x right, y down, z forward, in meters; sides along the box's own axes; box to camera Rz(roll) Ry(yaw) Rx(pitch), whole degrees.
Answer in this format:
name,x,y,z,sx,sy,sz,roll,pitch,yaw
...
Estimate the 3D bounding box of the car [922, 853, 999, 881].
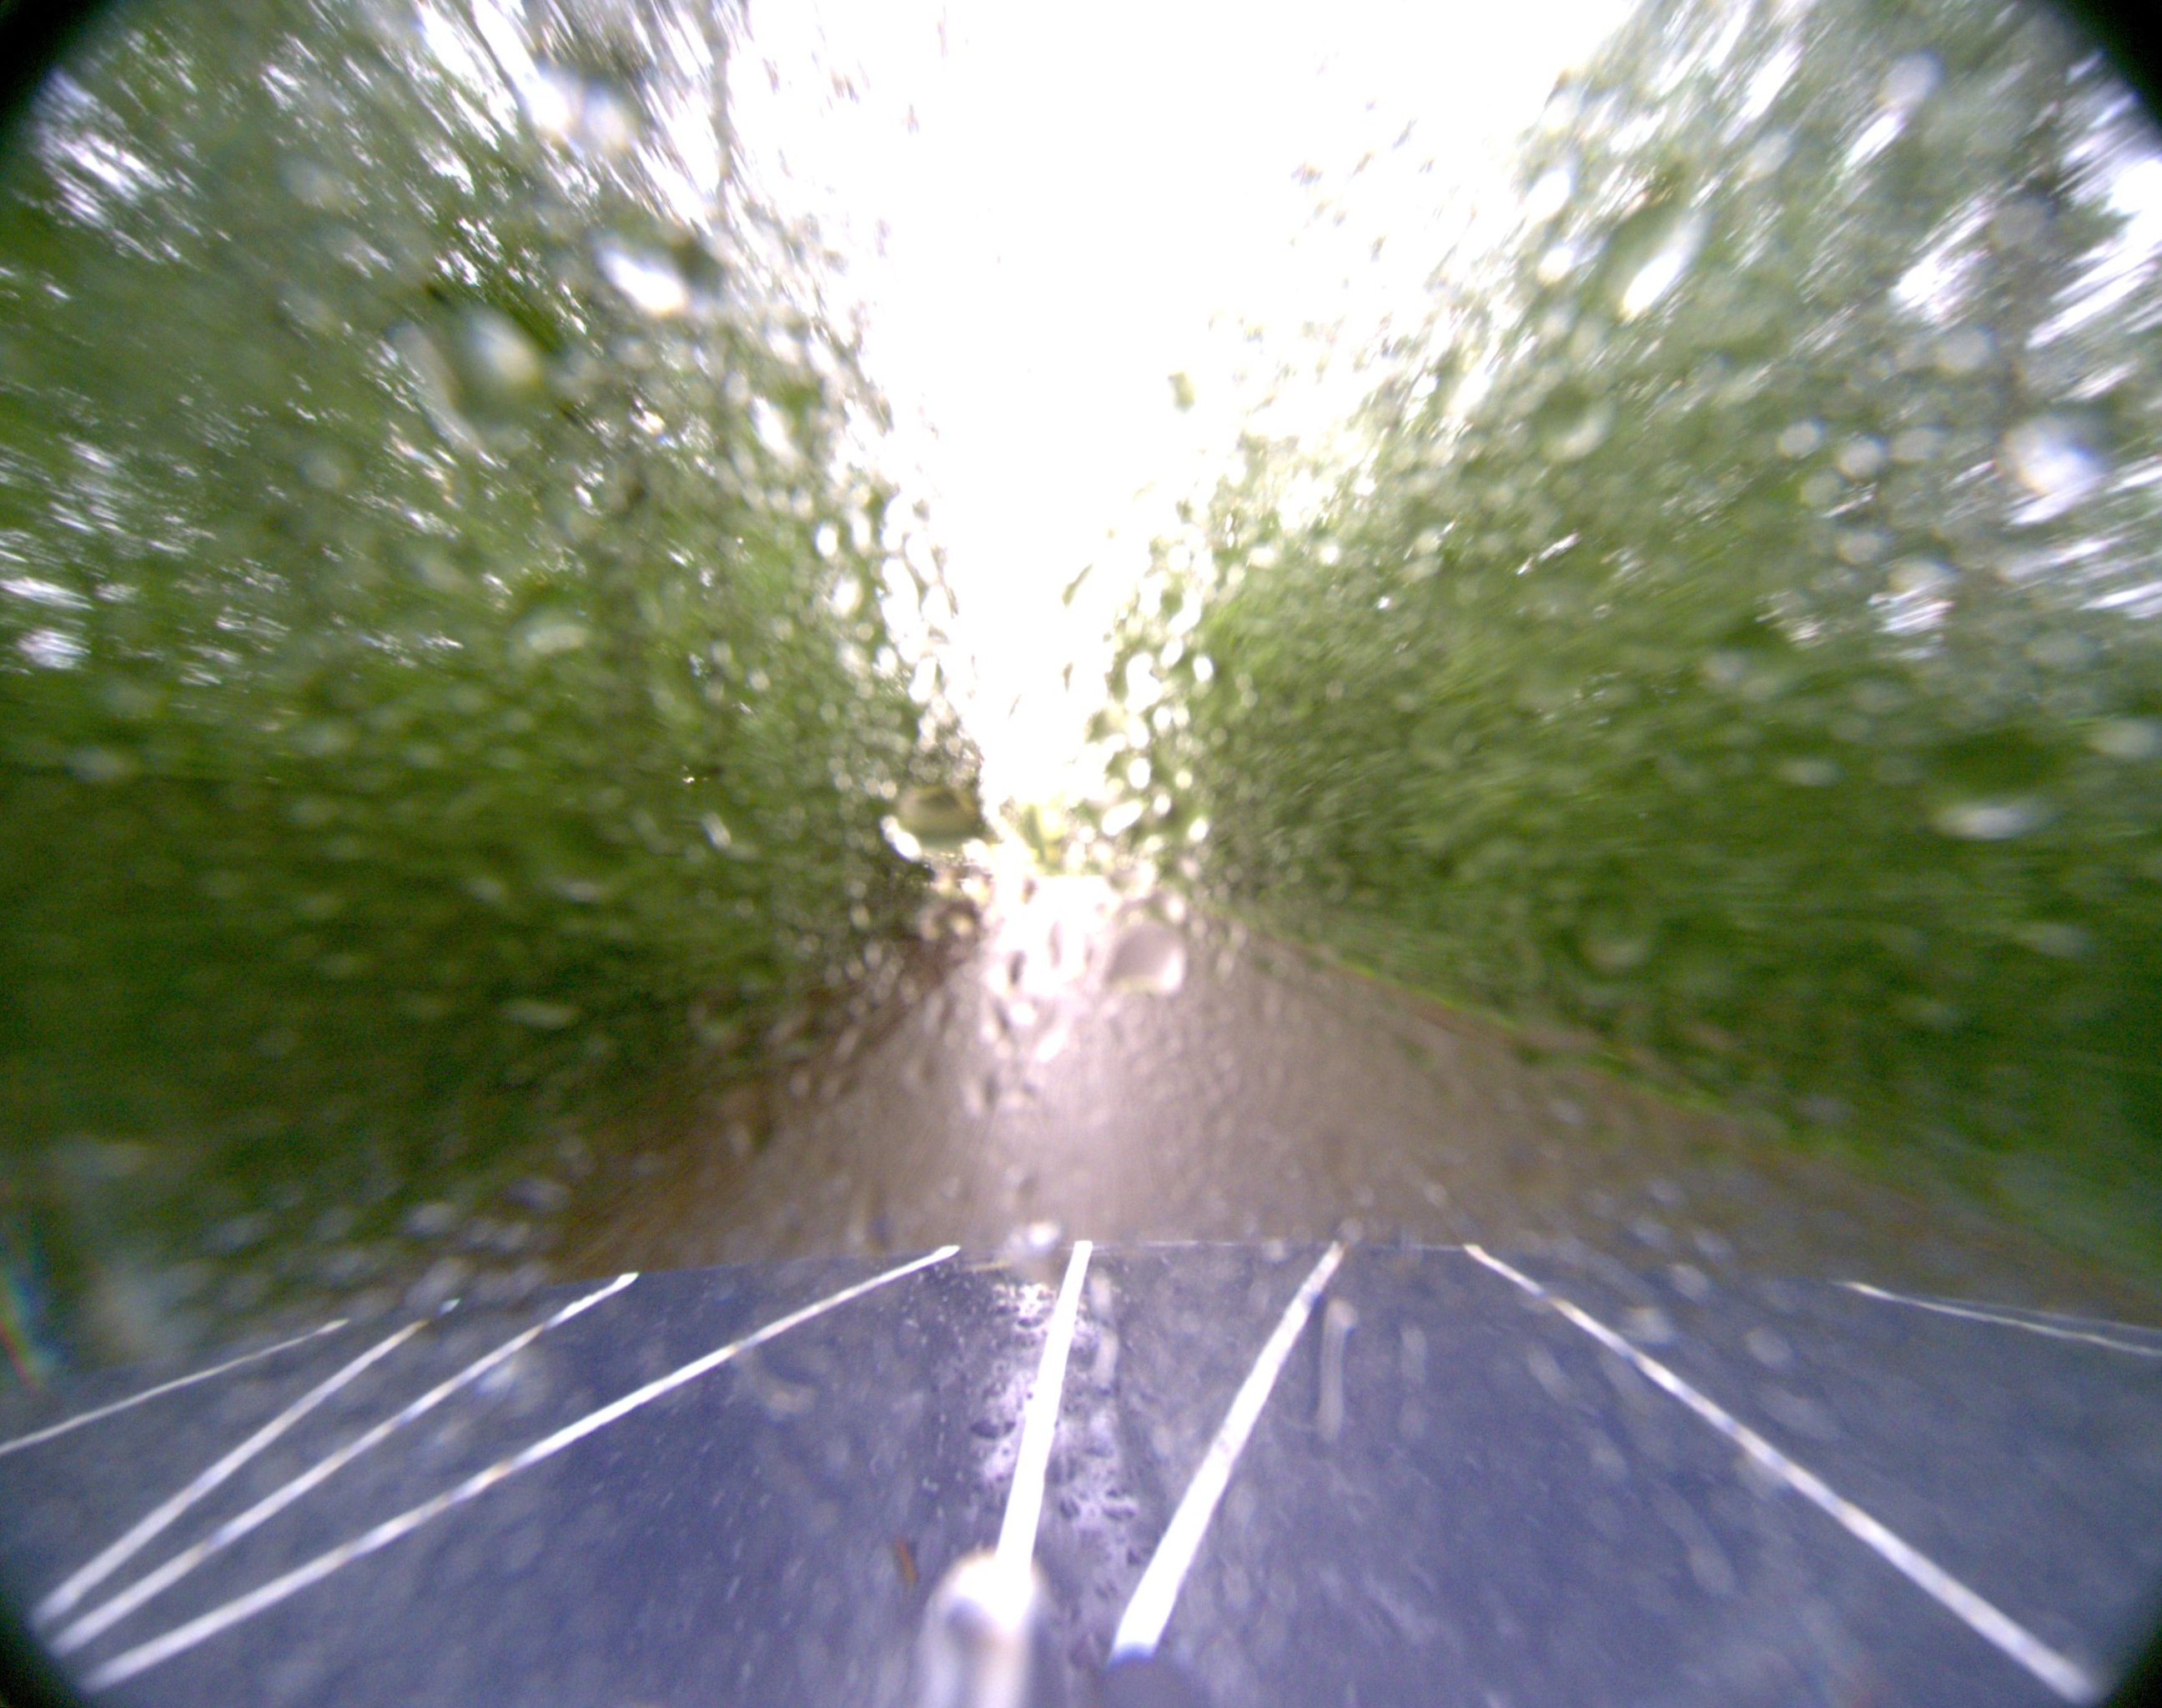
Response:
name,x,y,z,sx,sy,sz,roll,pitch,yaw
car,-6.466,0.690,40.806,3.713,1.427,1.708,0,1,12
